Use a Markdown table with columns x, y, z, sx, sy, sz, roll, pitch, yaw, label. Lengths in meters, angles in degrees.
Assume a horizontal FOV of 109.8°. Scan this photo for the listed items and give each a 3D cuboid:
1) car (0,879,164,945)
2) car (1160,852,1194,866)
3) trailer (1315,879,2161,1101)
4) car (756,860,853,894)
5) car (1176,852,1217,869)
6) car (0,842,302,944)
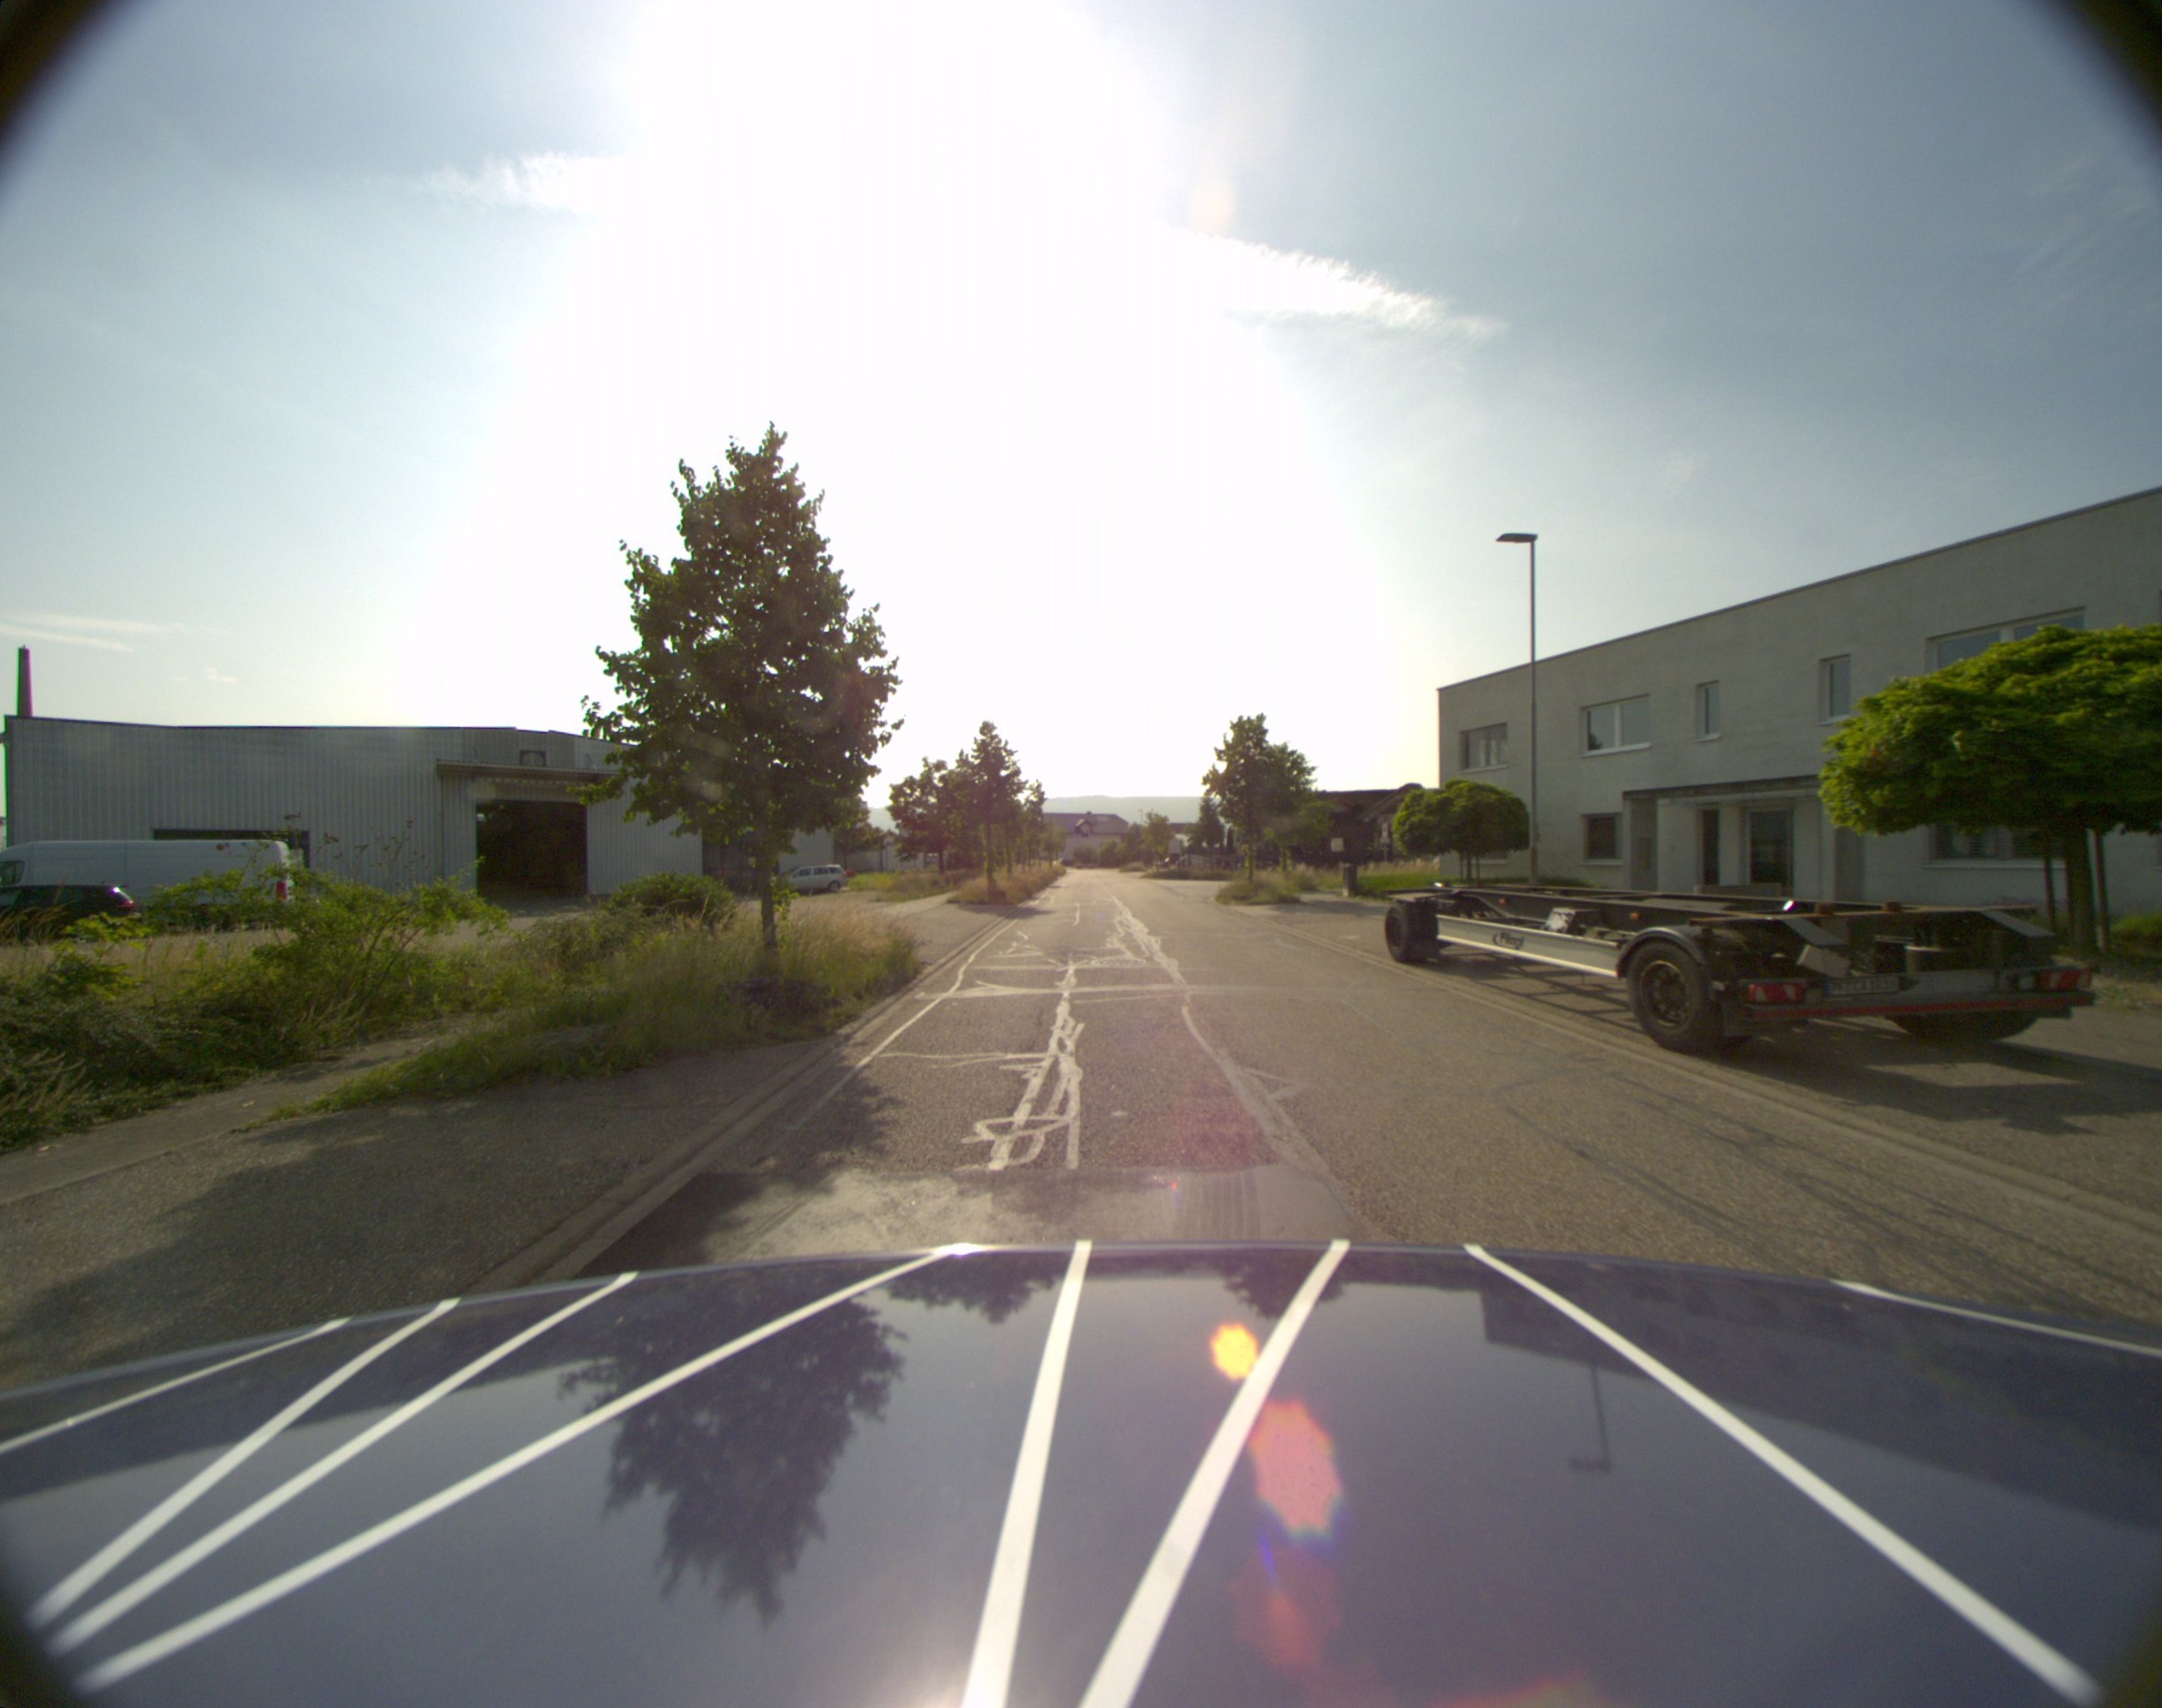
| x | y | z | sx | sy | sz | roll | pitch | yaw | label |
| --- | --- | --- | --- | --- | --- | --- | --- | --- | --- |
| -25.003 | 1.374 | 18.139 | 3.738 | 1.462 | 1.754 | 0 | -1 | -41 | car |
| 12.958 | 0.675 | 102.681 | 4.004 | 1.783 | 1.996 | -1 | 0 | -21 | car |
| 5.773 | 1.037 | 9.757 | 2.552 | 1.068 | 9.731 | -2 | 0 | 0 | trailer |
| -14.260 | 1.142 | 39.285 | 4.369 | 1.554 | 1.753 | 0 | 3 | -42 | car |
| 12.105 | 0.649 | 79.909 | 3.997 | 1.718 | 2.000 | -1 | 0 | 1 | car |
| -26.394 | 0.967 | 21.012 | 6.573 | 2.511 | 2.001 | -1 | 1 | -41 | car |
